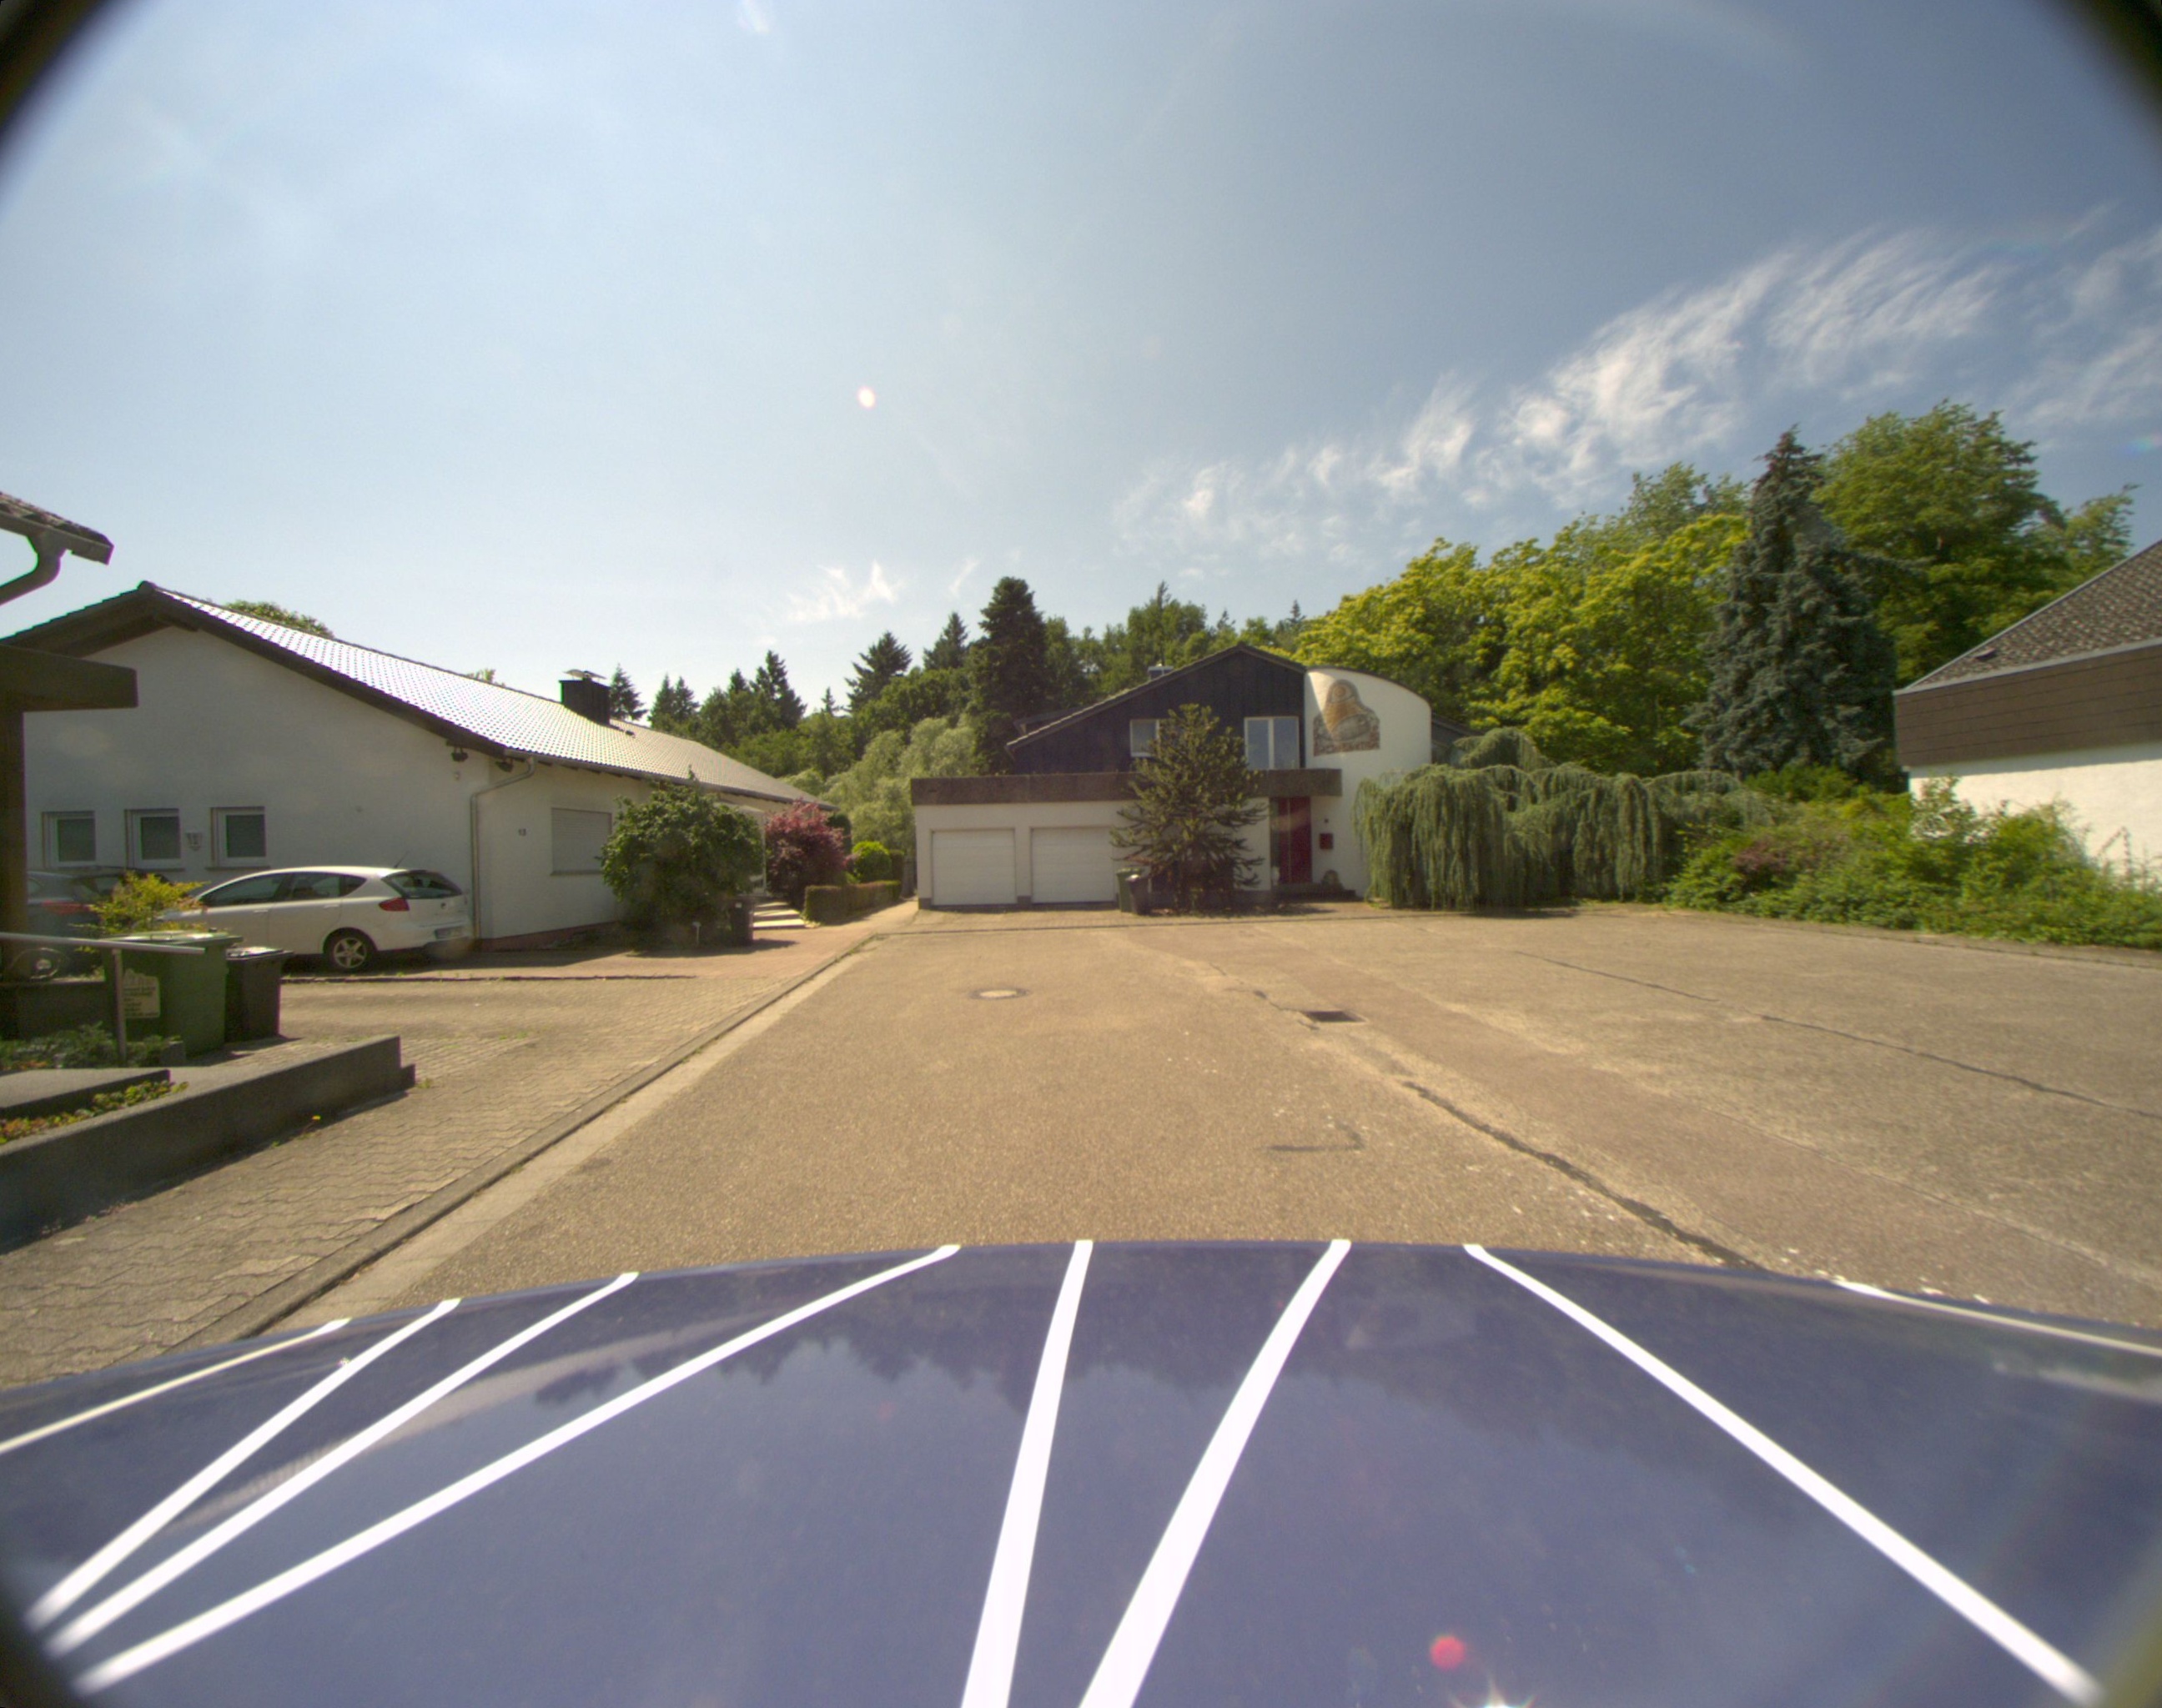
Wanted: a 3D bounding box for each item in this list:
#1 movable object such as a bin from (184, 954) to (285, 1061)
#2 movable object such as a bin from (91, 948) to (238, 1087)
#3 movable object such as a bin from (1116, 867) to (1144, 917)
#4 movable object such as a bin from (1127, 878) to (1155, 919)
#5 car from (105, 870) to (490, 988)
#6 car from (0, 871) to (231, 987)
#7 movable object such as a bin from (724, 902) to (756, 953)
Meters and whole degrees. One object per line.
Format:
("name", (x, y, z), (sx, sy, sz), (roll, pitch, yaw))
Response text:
("movable object such as a bin", (-7.809, 1.403, 7.022), (0.426, 0.886, 0.407), (-1, 1, -7))
("movable object such as a bin", (-7.807, 1.368, 6.501), (0.491, 1.035, 0.592), (-1, 1, -7))
("movable object such as a bin", (1.221, 0.940, 18.975), (0.633, 1.196, 0.551), (-1, 1, 1))
("movable object such as a bin", (1.427, 1.068, 18.198), (0.524, 0.944, 0.388), (-2, 1, -26))
("car", (-11.927, 1.087, 11.812), (3.998, 1.559, 1.751), (-1, 1, -3))
("car", (-16.509, 1.125, 11.985), (3.997, 1.599, 1.929), (-1, 1, 1))
("movable object such as a bin", (-6.251, 1.342, 13.954), (0.390, 0.886, 0.375), (-1, 2, 0))
